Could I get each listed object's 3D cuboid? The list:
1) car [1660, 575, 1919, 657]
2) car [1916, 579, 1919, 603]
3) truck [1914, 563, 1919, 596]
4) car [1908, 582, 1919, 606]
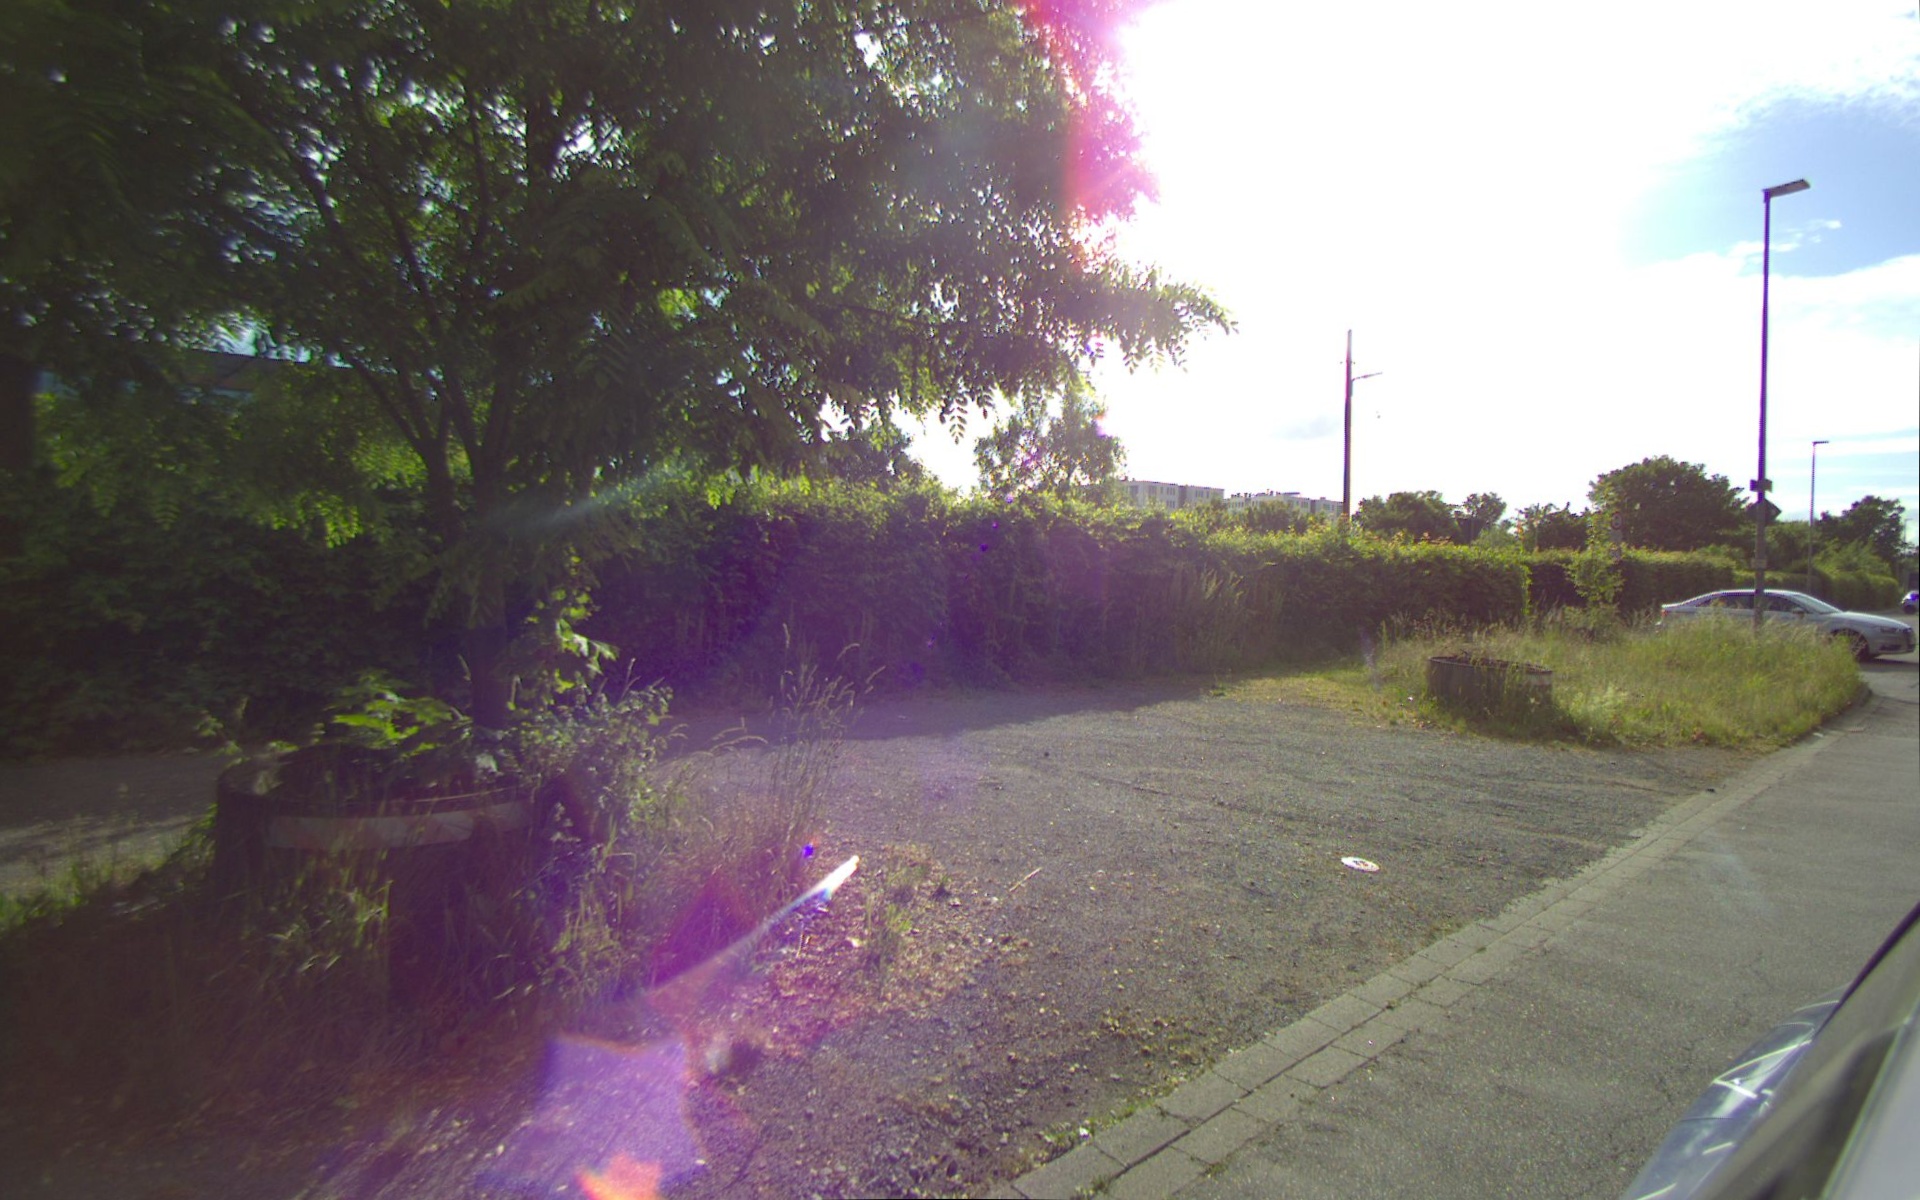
[{"bbox_3d":[17.941,0.246,21.750,1.896,1.460,4.378,-1,3,-35],"label":"car"},{"bbox_3d":[72.287,-0.584,73.071,1.733,1.720,4.596,-1,3,-41],"label":"car"},{"bbox_3d":[118.774,-2.449,123.532,2.593,4.006,6.194,6,4,39],"label":"truck"},{"bbox_3d":[64.466,-0.279,65.892,1.663,1.508,3.864,1,4,-43],"label":"car"}]
